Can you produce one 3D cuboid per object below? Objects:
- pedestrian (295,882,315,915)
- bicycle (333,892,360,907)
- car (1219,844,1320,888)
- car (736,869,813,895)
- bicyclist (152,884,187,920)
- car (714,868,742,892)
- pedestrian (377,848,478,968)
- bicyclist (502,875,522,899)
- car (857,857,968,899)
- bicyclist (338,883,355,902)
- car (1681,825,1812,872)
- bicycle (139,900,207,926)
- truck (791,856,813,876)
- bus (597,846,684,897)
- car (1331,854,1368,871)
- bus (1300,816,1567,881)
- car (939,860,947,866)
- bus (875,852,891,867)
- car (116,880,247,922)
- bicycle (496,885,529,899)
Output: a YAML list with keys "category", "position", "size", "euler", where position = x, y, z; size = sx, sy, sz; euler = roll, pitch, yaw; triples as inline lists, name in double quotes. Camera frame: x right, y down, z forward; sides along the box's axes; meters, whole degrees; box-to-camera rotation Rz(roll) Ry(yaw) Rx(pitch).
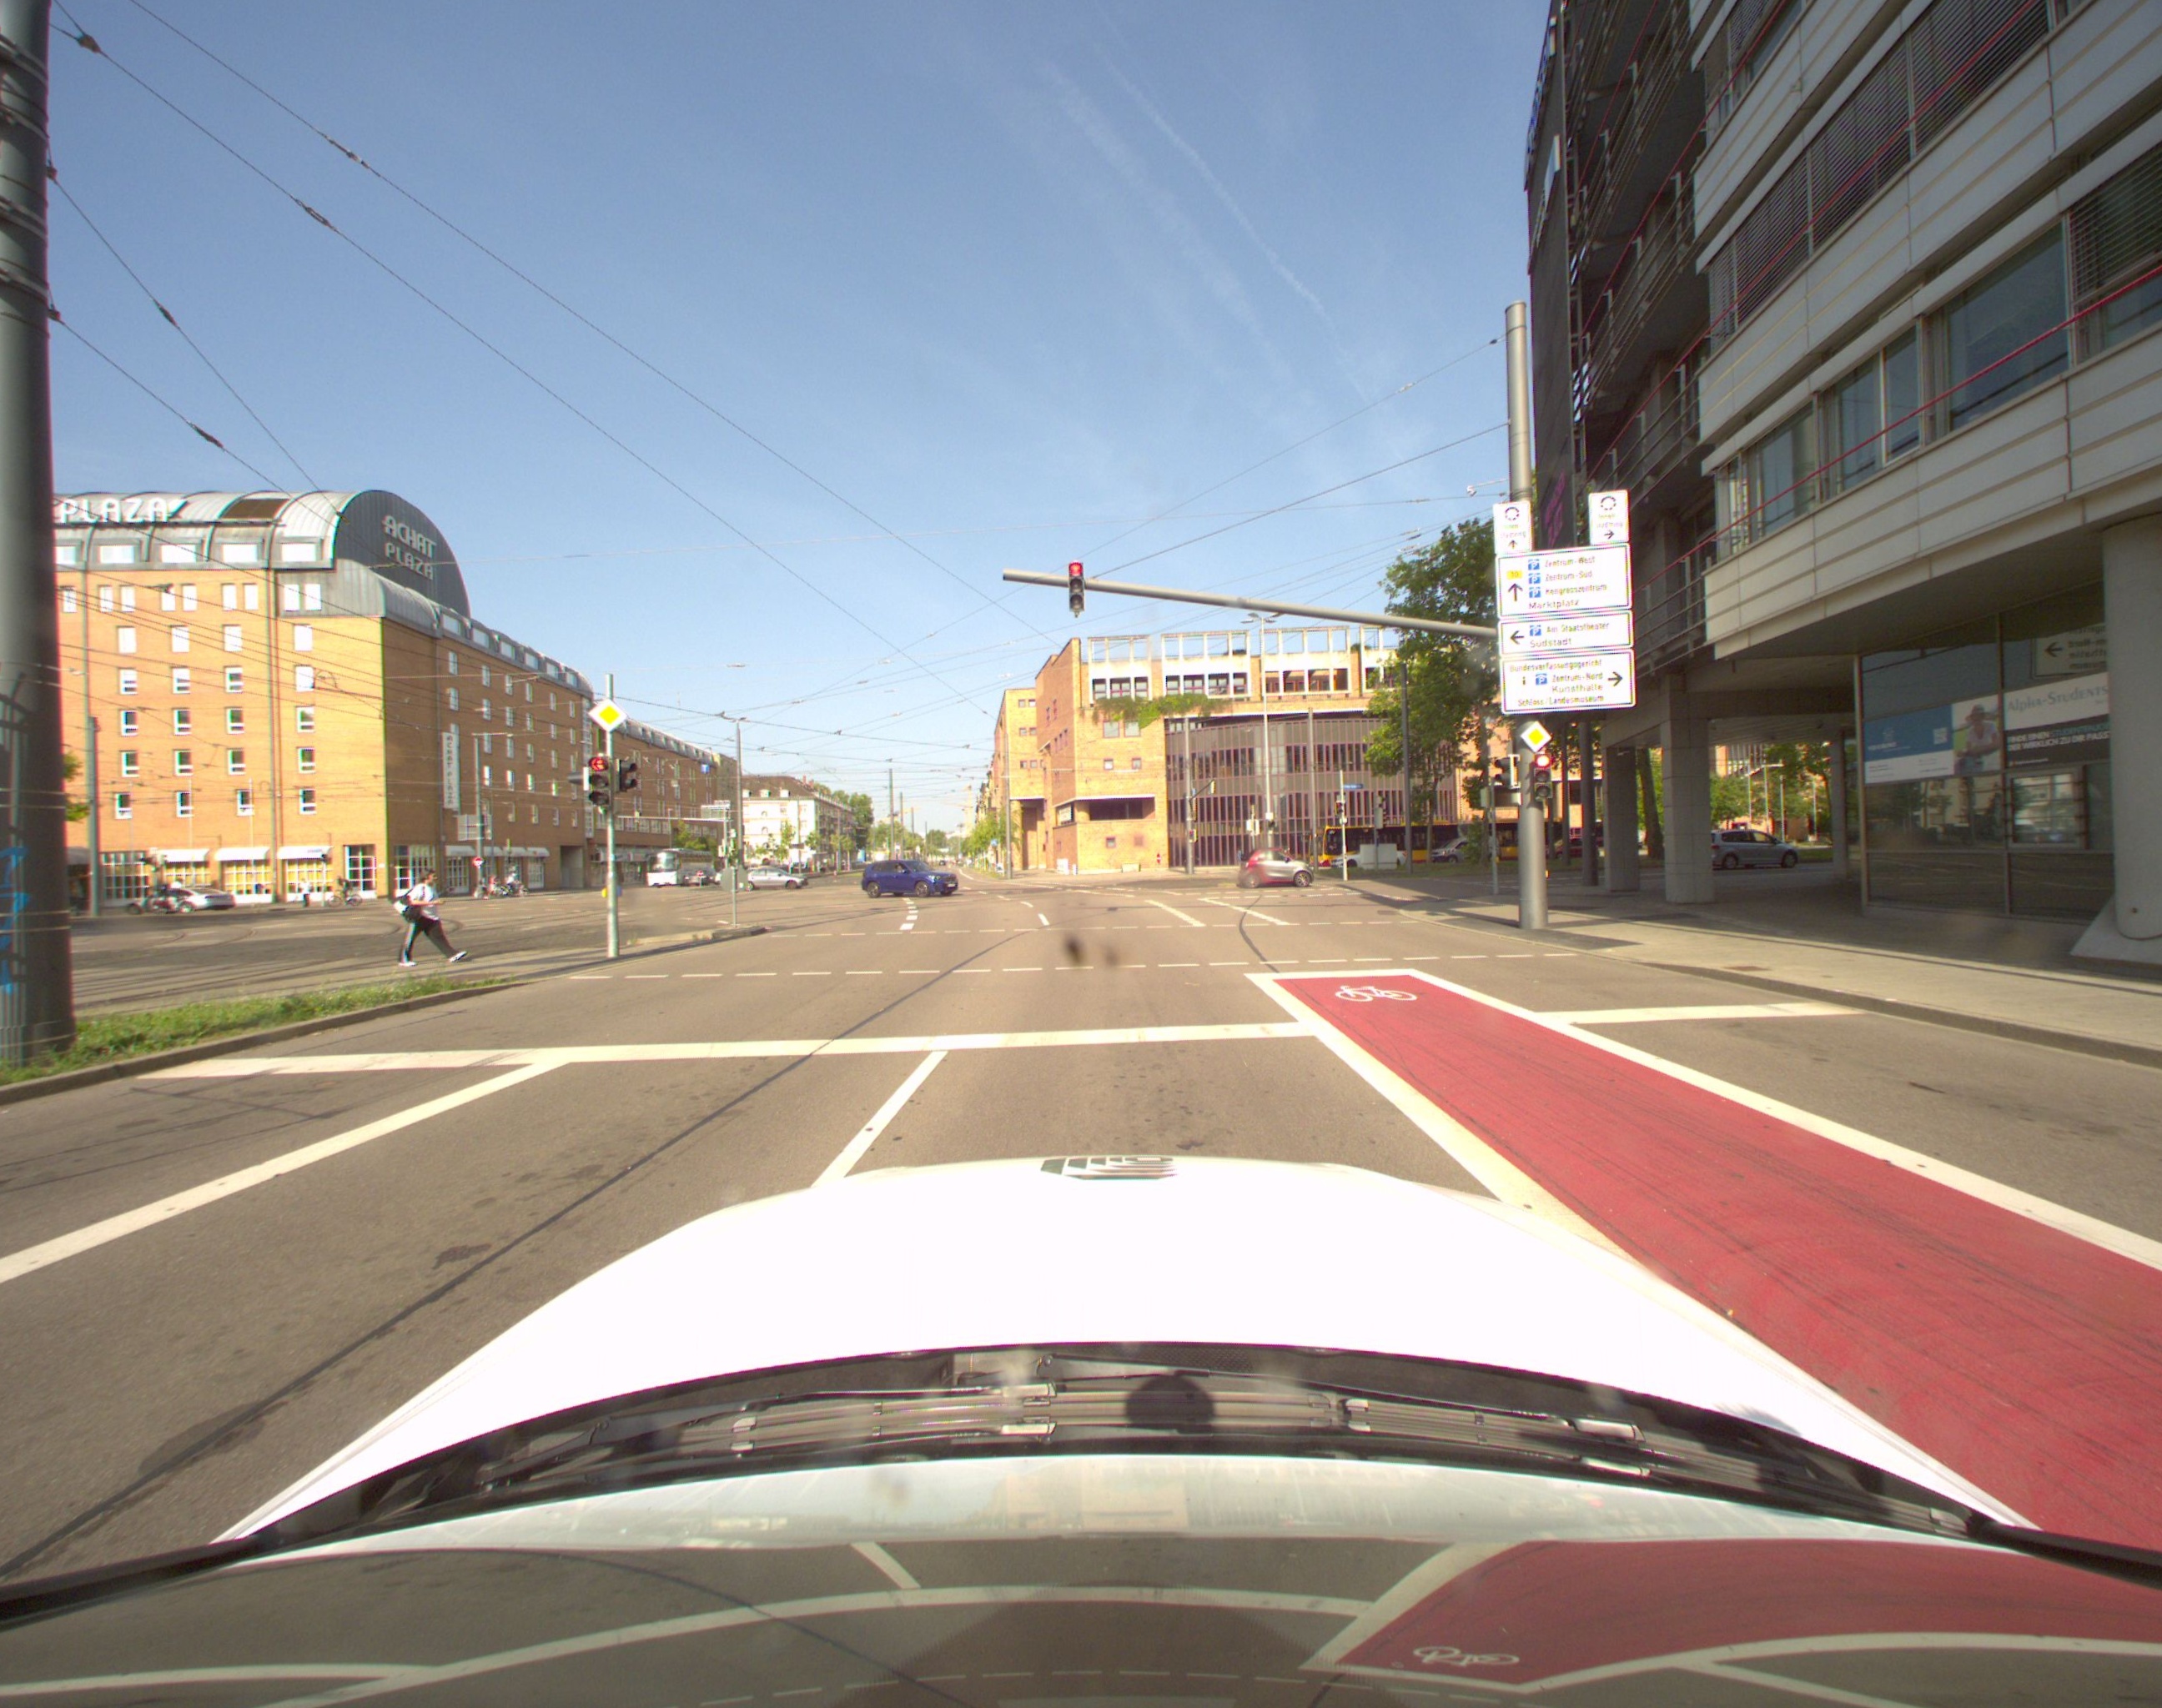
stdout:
- category: "pedestrian"
  position: [-48.157, 2.743, 50.553]
  size: [0.753, 1.953, 0.874]
  euler: [-2, 0, -36]
- category: "bicycle"
  position: [-45.376, 2.789, 50.311]
  size: [0.345, 0.872, 1.397]
  euler: [-2, -2, 1]
- category: "car"
  position: [7.163, 0.446, 31.276]
  size: [3.573, 1.492, 1.706]
  euler: [-2, 1, 6]
- category: "car"
  position: [-19.224, 1.752, 51.262]
  size: [4.206, 1.487, 1.994]
  euler: [-2, -2, -9]
- category: "bicyclist"
  position: [-45.932, 2.411, 41.044]
  size: [0.660, 1.747, 0.971]
  euler: [-2, -2, 14]
- category: "car"
  position: [-32.112, 2.370, 74.166]
  size: [1.601, 2.014, 2.721]
  euler: [-2, -2, -9]
- category: "pedestrian"
  position: [-11.509, 0.936, 14.385]
  size: [1.157, 2.014, 0.772]
  euler: [-1, -2, -14]
- category: "bicyclist"
  position: [-42.060, 2.448, 60.206]
  size: [0.987, 1.696, 0.667]
  euler: [-1, -2, -13]
- category: "car"
  position: [-7.319, 1.051, 35.354]
  size: [4.359, 1.636, 2.003]
  euler: [-3, -2, 25]
- category: "bicyclist"
  position: [-45.394, 2.375, 50.333]
  size: [0.520, 1.129, 0.610]
  euler: [-2, -2, 1]
- category: "car"
  position: [26.816, -0.242, 32.850]
  size: [4.379, 1.634, 1.684]
  euler: [-2, 1, -11]
- category: "bicycle"
  position: [-45.873, 2.961, 41.186]
  size: [0.544, 1.206, 2.296]
  euler: [-2, -2, 14]
- category: "truck"
  position: [-37.769, 1.658, 110.286]
  size: [1.993, 2.599, 4.724]
  euler: [-2, -2, -9]
- category: "bus"
  position: [-37.633, 1.571, 70.165]
  size: [2.747, 3.921, 12.173]
  euler: [-2, -2, -10]
- category: "car"
  position: [16.574, 0.536, 50.268]
  size: [1.944, 0.958, 1.094]
  euler: [-2, 0, 0]
- category: "bus"
  position: [23.886, -0.384, 55.267]
  size: [17.596, 3.811, 2.857]
  euler: [-2, -2, -8]
- category: "car"
  position: [-38.304, 2.532, 225.885]
  size: [2.073, 1.542, 4.399]
  euler: [-2, -2, -10]
- category: "bus"
  position: [-28.236, 0.831, 116.160]
  size: [1.995, 2.013, 3.984]
  euler: [-1, 0, -11]
- category: "car"
  position: [-49.558, 2.560, 44.952]
  size: [4.595, 2.013, 1.996]
  euler: [-2, 0, -6]
- category: "bicycle"
  position: [-42.029, 2.810, 60.199]
  size: [1.962, 0.970, 0.418]
  euler: [-2, -2, -13]
